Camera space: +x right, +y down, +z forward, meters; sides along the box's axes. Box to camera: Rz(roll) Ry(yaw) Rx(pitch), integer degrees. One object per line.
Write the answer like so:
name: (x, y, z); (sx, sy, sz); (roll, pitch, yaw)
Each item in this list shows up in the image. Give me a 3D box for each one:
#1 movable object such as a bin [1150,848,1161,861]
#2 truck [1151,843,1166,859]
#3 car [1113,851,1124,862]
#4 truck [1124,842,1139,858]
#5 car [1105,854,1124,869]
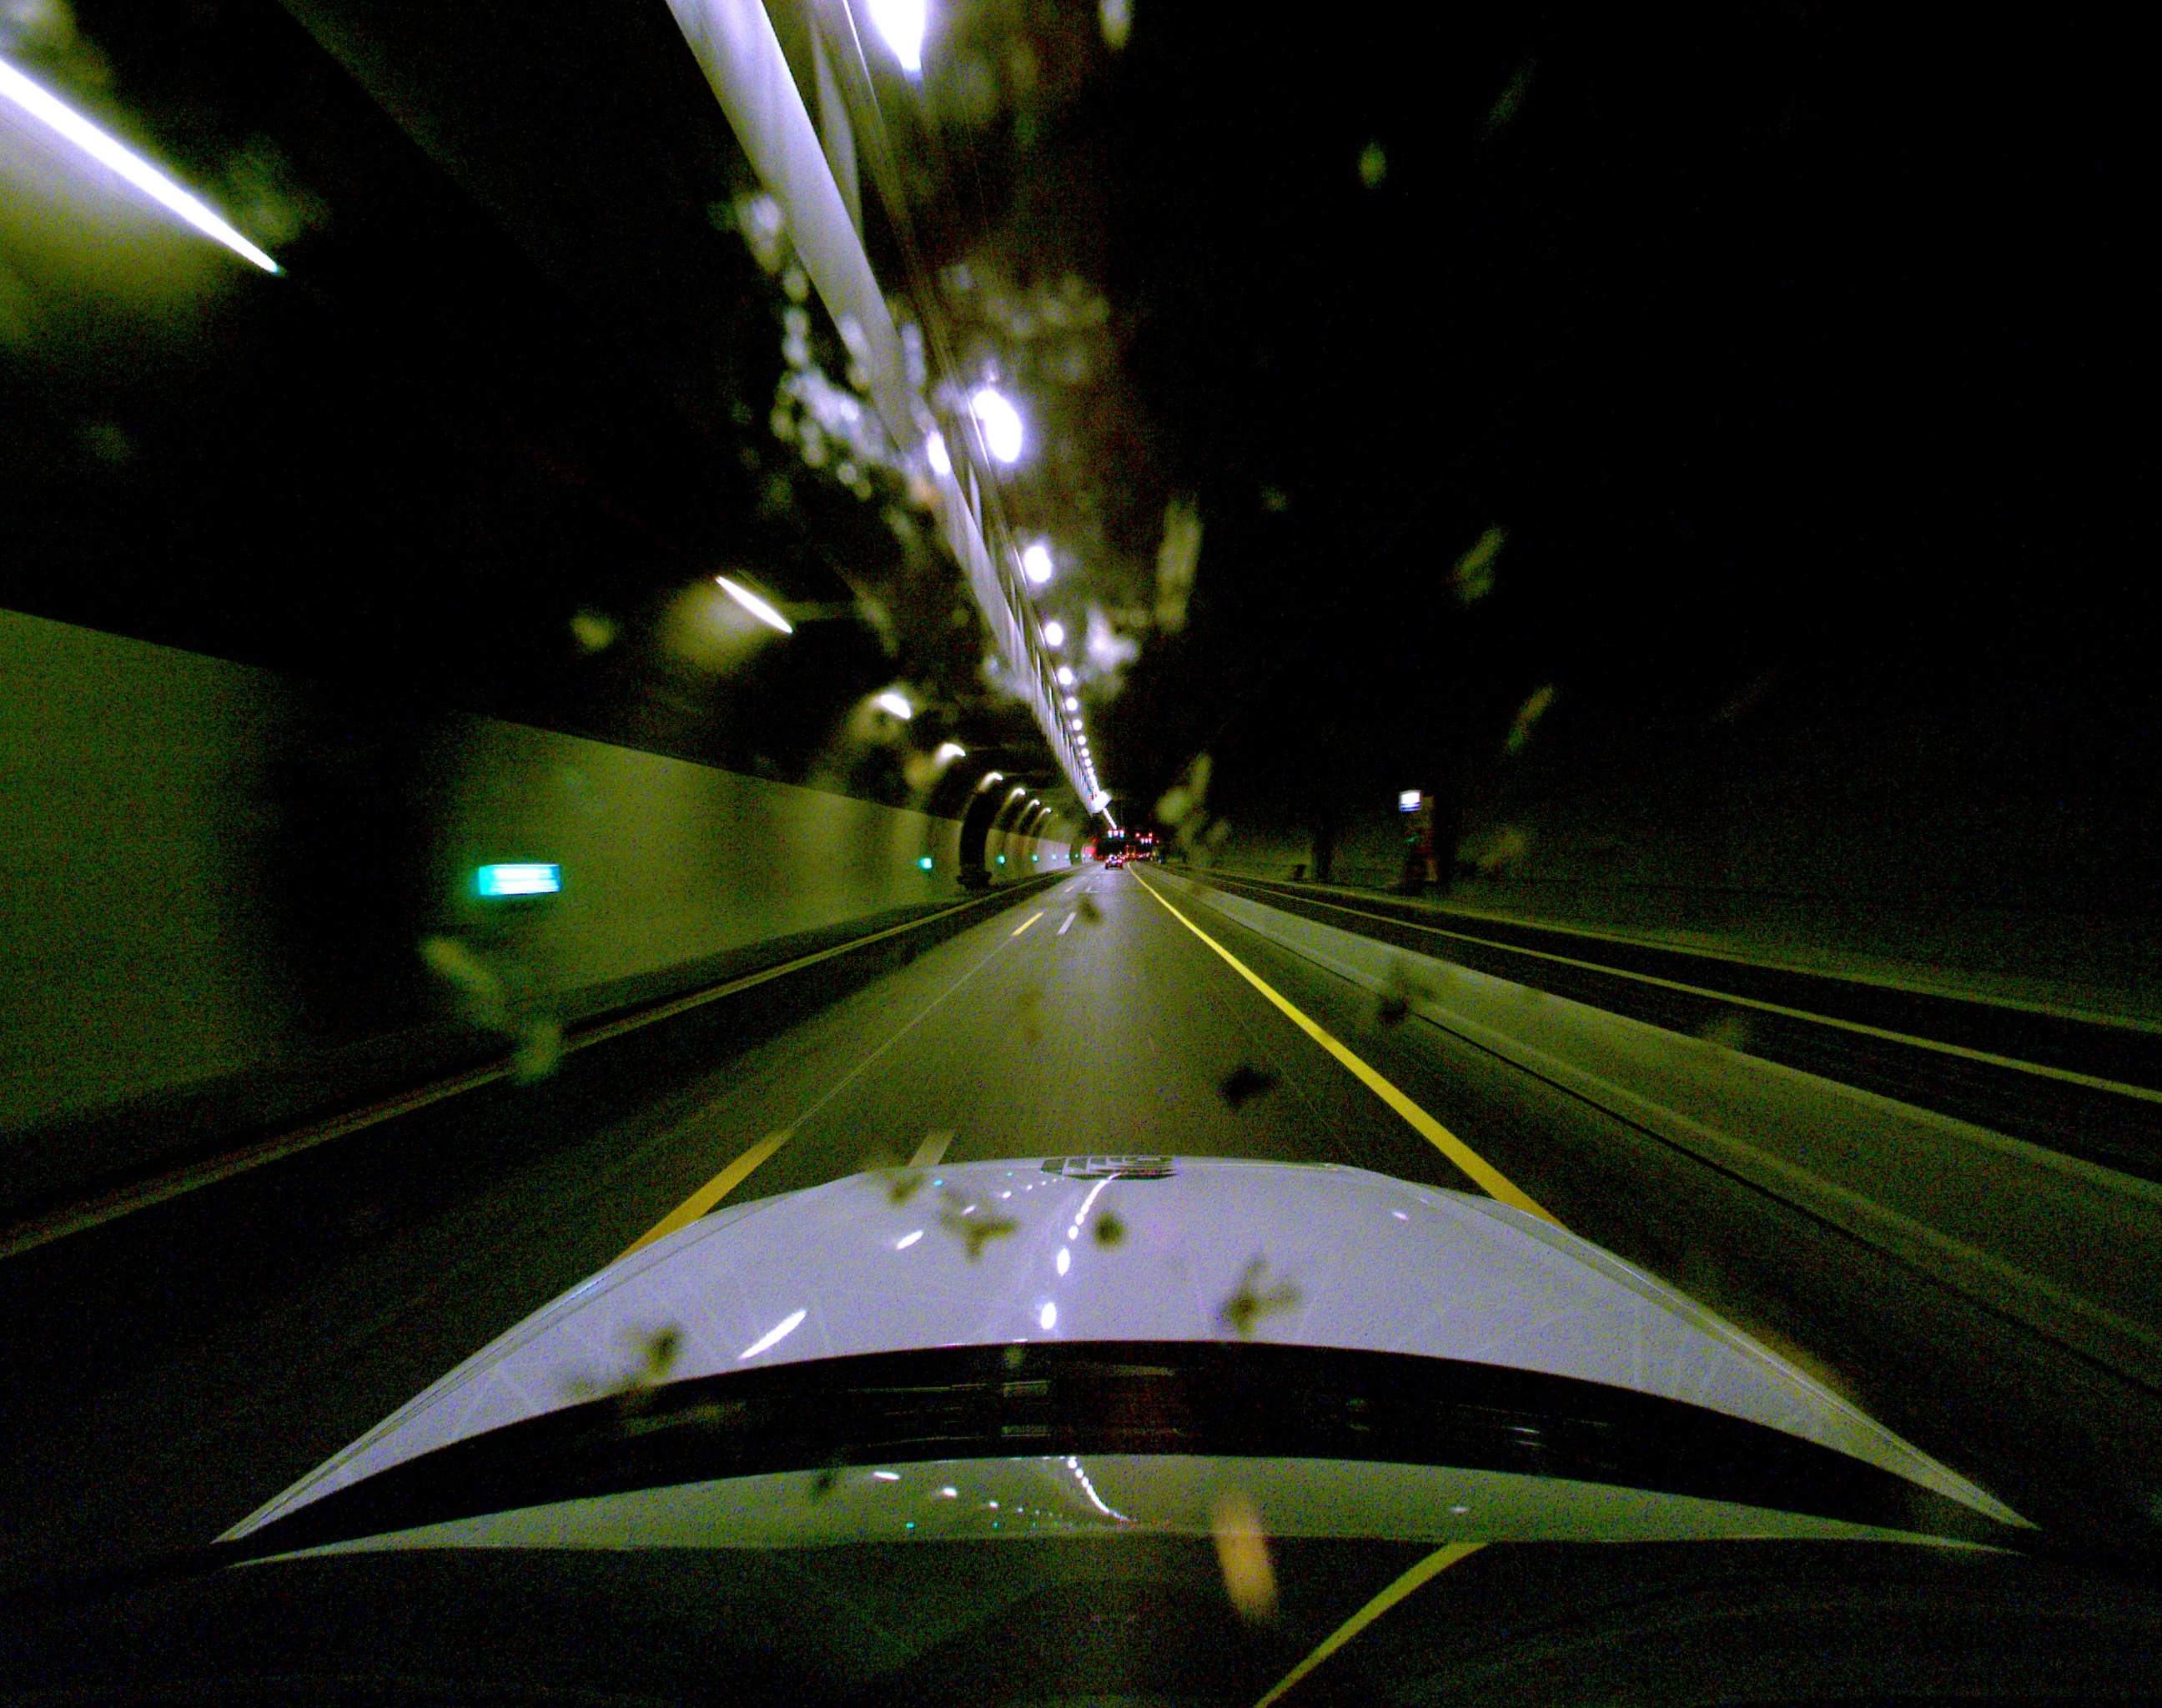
movable object such as a bin: (16.655, 0.072, 181.257); (2.228, 2.794, 7.239); (0, 0, 4)
truck: (16.442, -0.522, 172.930); (2.880, 3.272, 8.409); (0, 0, 4)
car: (6.931, 0.524, 152.429); (1.986, 2.013, 4.001); (-1, 0, 1)
truck: (15.617, -1.201, 253.491); (4.527, 4.987, 9.607); (0, -1, 3)
car: (3.557, 0.808, 87.433); (1.881, 1.607, 4.000); (0, 0, 1)
